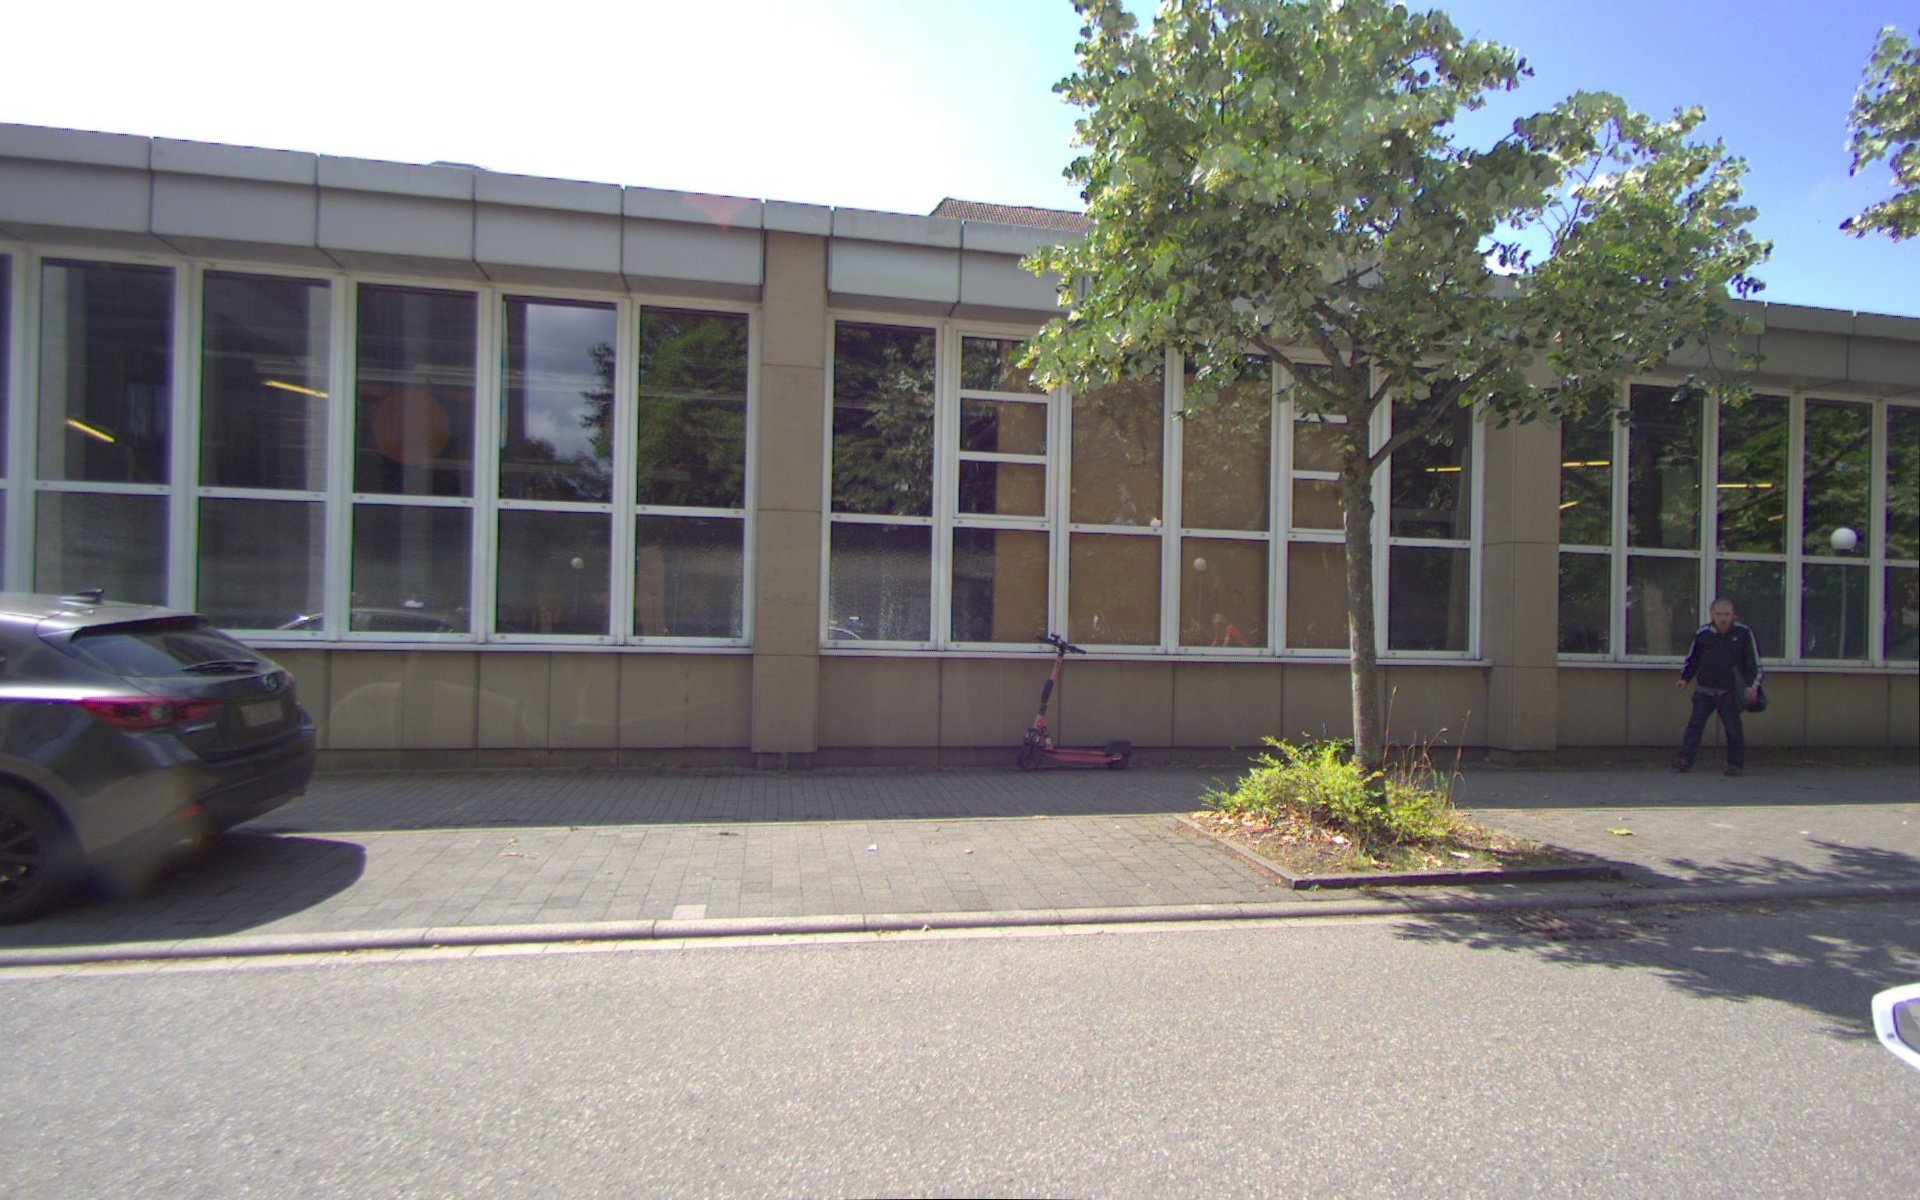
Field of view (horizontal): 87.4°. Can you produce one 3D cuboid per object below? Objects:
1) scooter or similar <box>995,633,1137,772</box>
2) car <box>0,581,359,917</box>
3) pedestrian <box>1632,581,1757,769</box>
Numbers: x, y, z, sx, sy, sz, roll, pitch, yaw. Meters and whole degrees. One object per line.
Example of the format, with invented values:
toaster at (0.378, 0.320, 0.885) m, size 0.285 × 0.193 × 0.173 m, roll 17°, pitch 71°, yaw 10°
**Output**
scooter or similar at (0.972, 0.933, 9.278) m, size 1.224 × 1.223 × 0.383 m, roll 1°, pitch 2°, yaw -12°
car at (-5.655, 0.634, 4.999) m, size 4.214 × 1.455 × 1.727 m, roll 1°, pitch 1°, yaw -12°
pedestrian at (7.374, 0.723, 10.119) m, size 0.774 × 1.811 × 0.670 m, roll 1°, pitch 1°, yaw 14°
